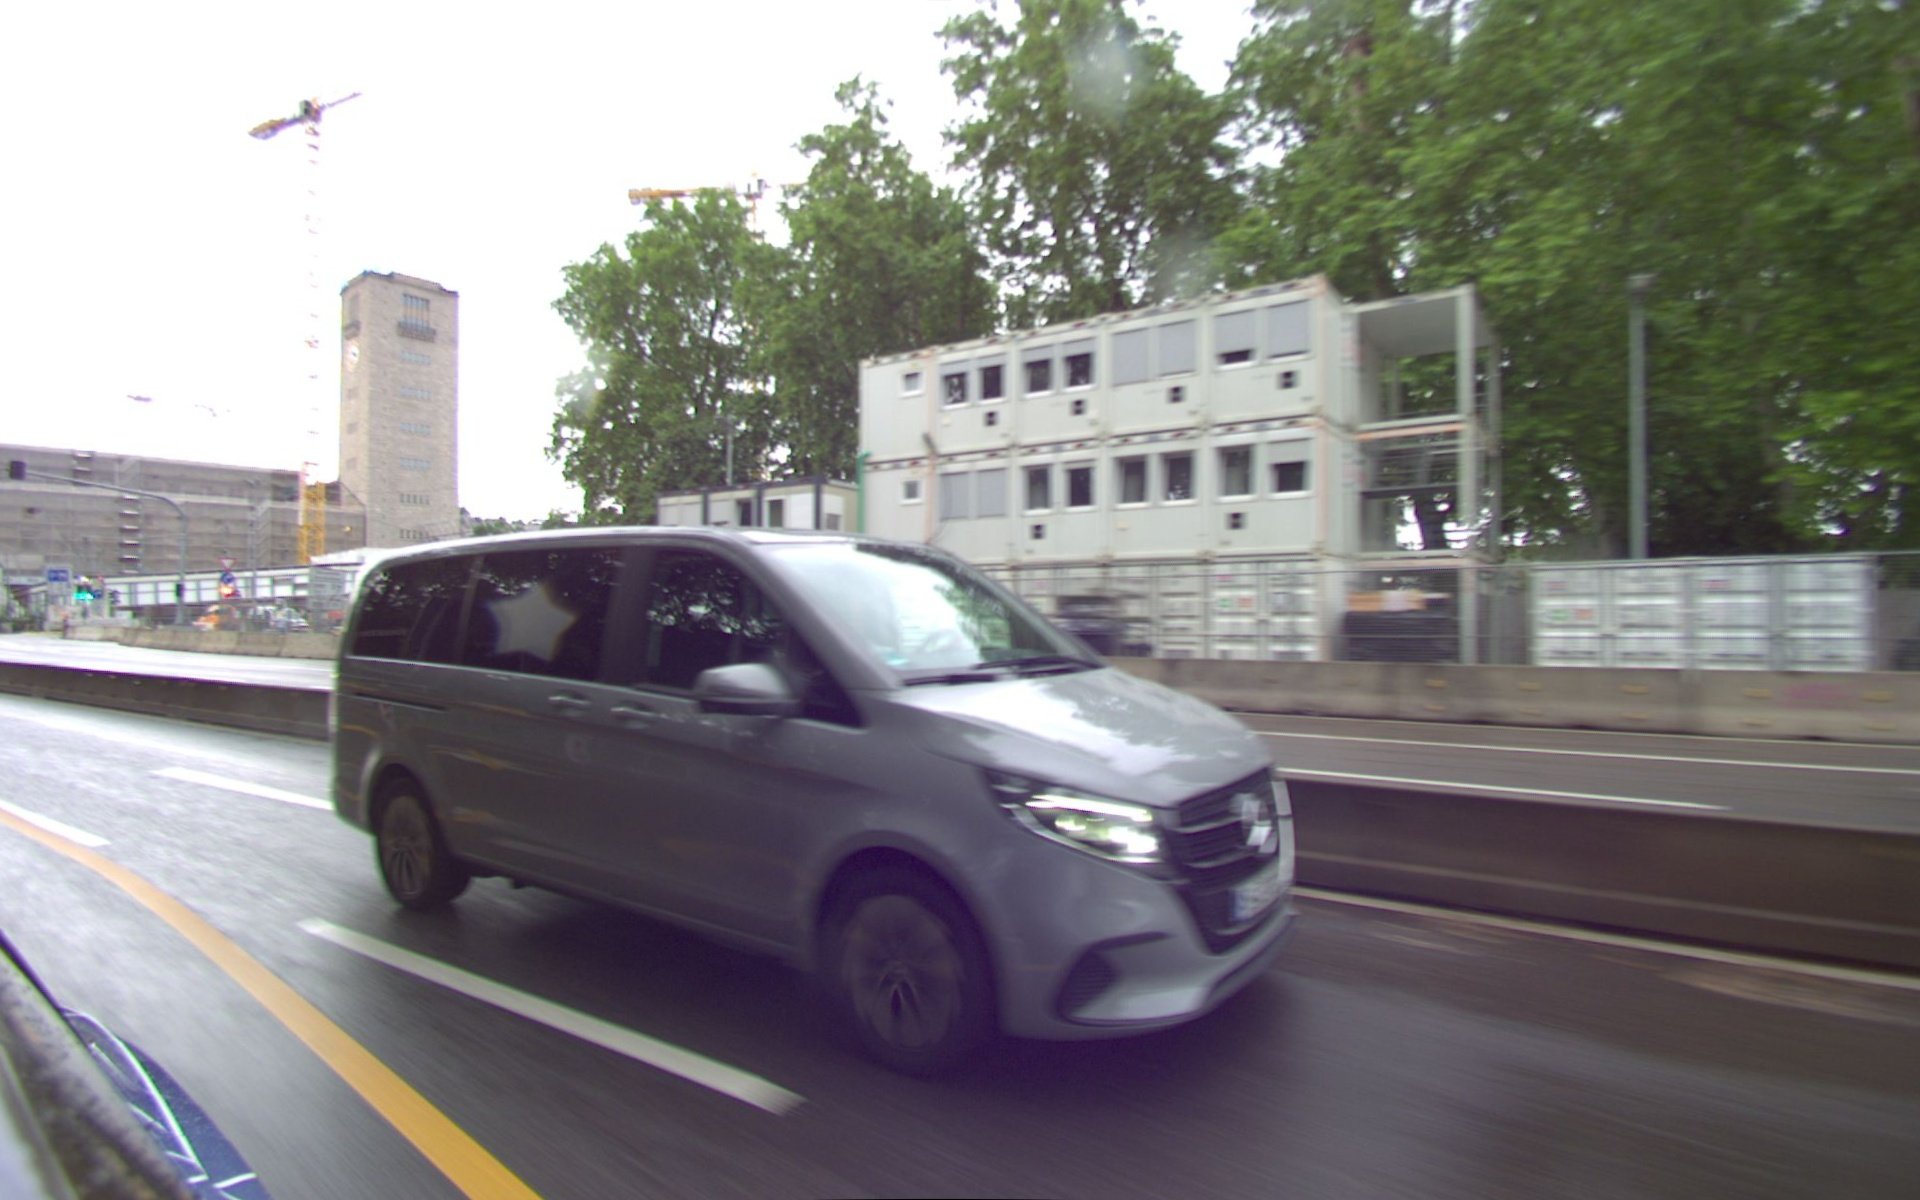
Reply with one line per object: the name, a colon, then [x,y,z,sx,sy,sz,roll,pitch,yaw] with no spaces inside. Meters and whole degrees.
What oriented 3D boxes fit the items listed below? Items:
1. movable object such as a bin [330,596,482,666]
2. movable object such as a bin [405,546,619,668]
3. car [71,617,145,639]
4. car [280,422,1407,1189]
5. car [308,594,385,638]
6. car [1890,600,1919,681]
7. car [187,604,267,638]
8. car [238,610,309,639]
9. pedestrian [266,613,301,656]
movable object such as a bin: [-27.000,1.491,49.328,6.369,3.152,3.901,0,-2,33]
movable object such as a bin: [-19.598,0.377,44.227,8.334,4.839,4.712,0,-2,33]
car: [-78.106,2.594,92.848,4.951,2.029,2.001,0,-2,-3]
car: [-0.946,0.553,4.813,5.344,1.870,1.977,-1,-1,34]
car: [-45.237,1.184,74.536,6.148,3.089,2.256,0,-2,32]
car: [18.102,0.727,17.746,1.994,1.454,3.954,-1,-2,33]
car: [-47.558,1.369,65.652,5.559,2.117,1.980,0,-4,30]
car: [-42.488,1.512,62.606,4.782,1.775,1.831,0,-2,33]
pedestrian: [-32.165,1.619,48.102,1.174,2.029,1.167,-1,-1,43]
